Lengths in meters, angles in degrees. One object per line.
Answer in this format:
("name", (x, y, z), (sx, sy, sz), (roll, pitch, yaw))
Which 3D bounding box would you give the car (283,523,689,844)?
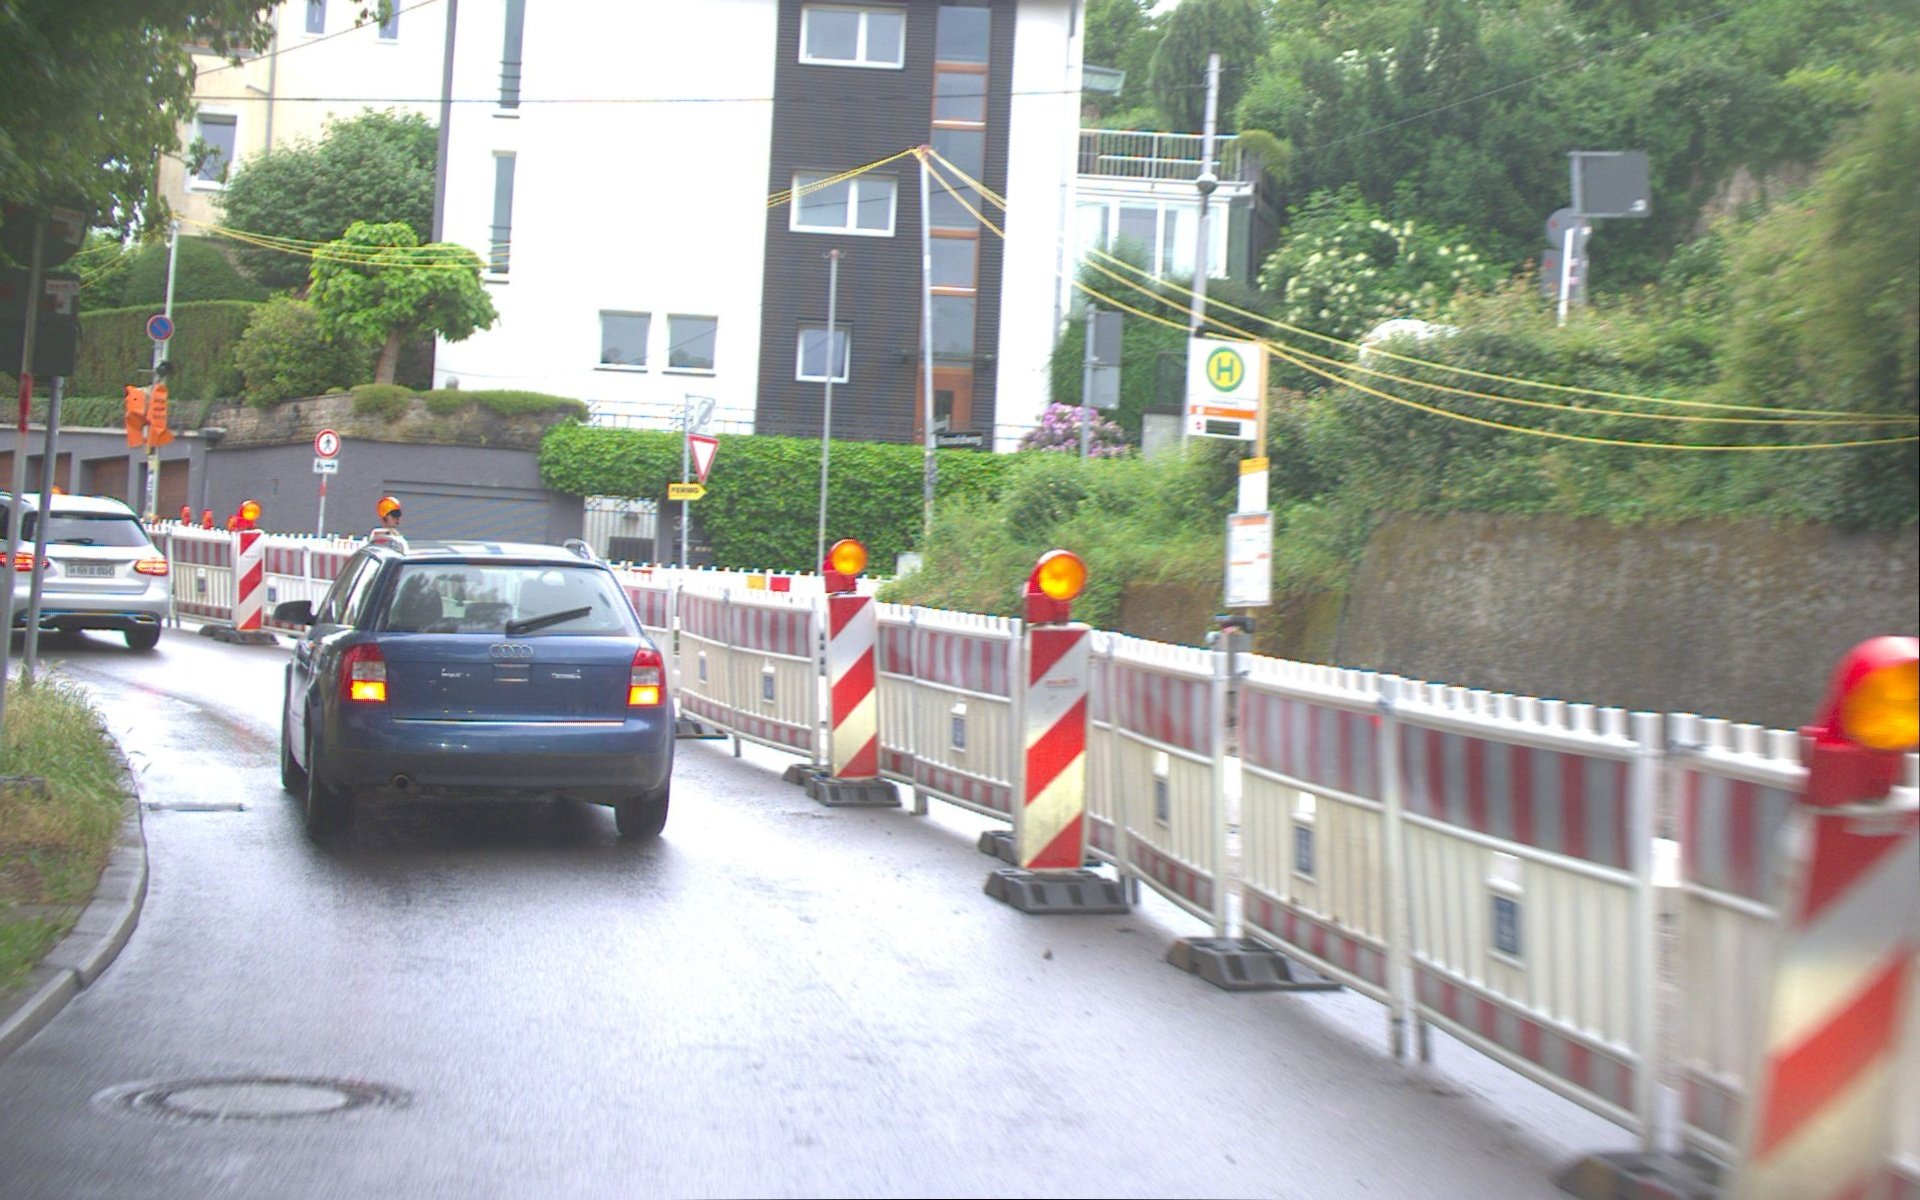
("car", (-2.537, 0.348, 17.642), (1.785, 1.437, 3.965), (1, 1, -12))

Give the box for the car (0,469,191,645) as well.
("car", (-9.165, -0.448, 34.071), (1.926, 1.612, 4.321), (1, 1, -28))
